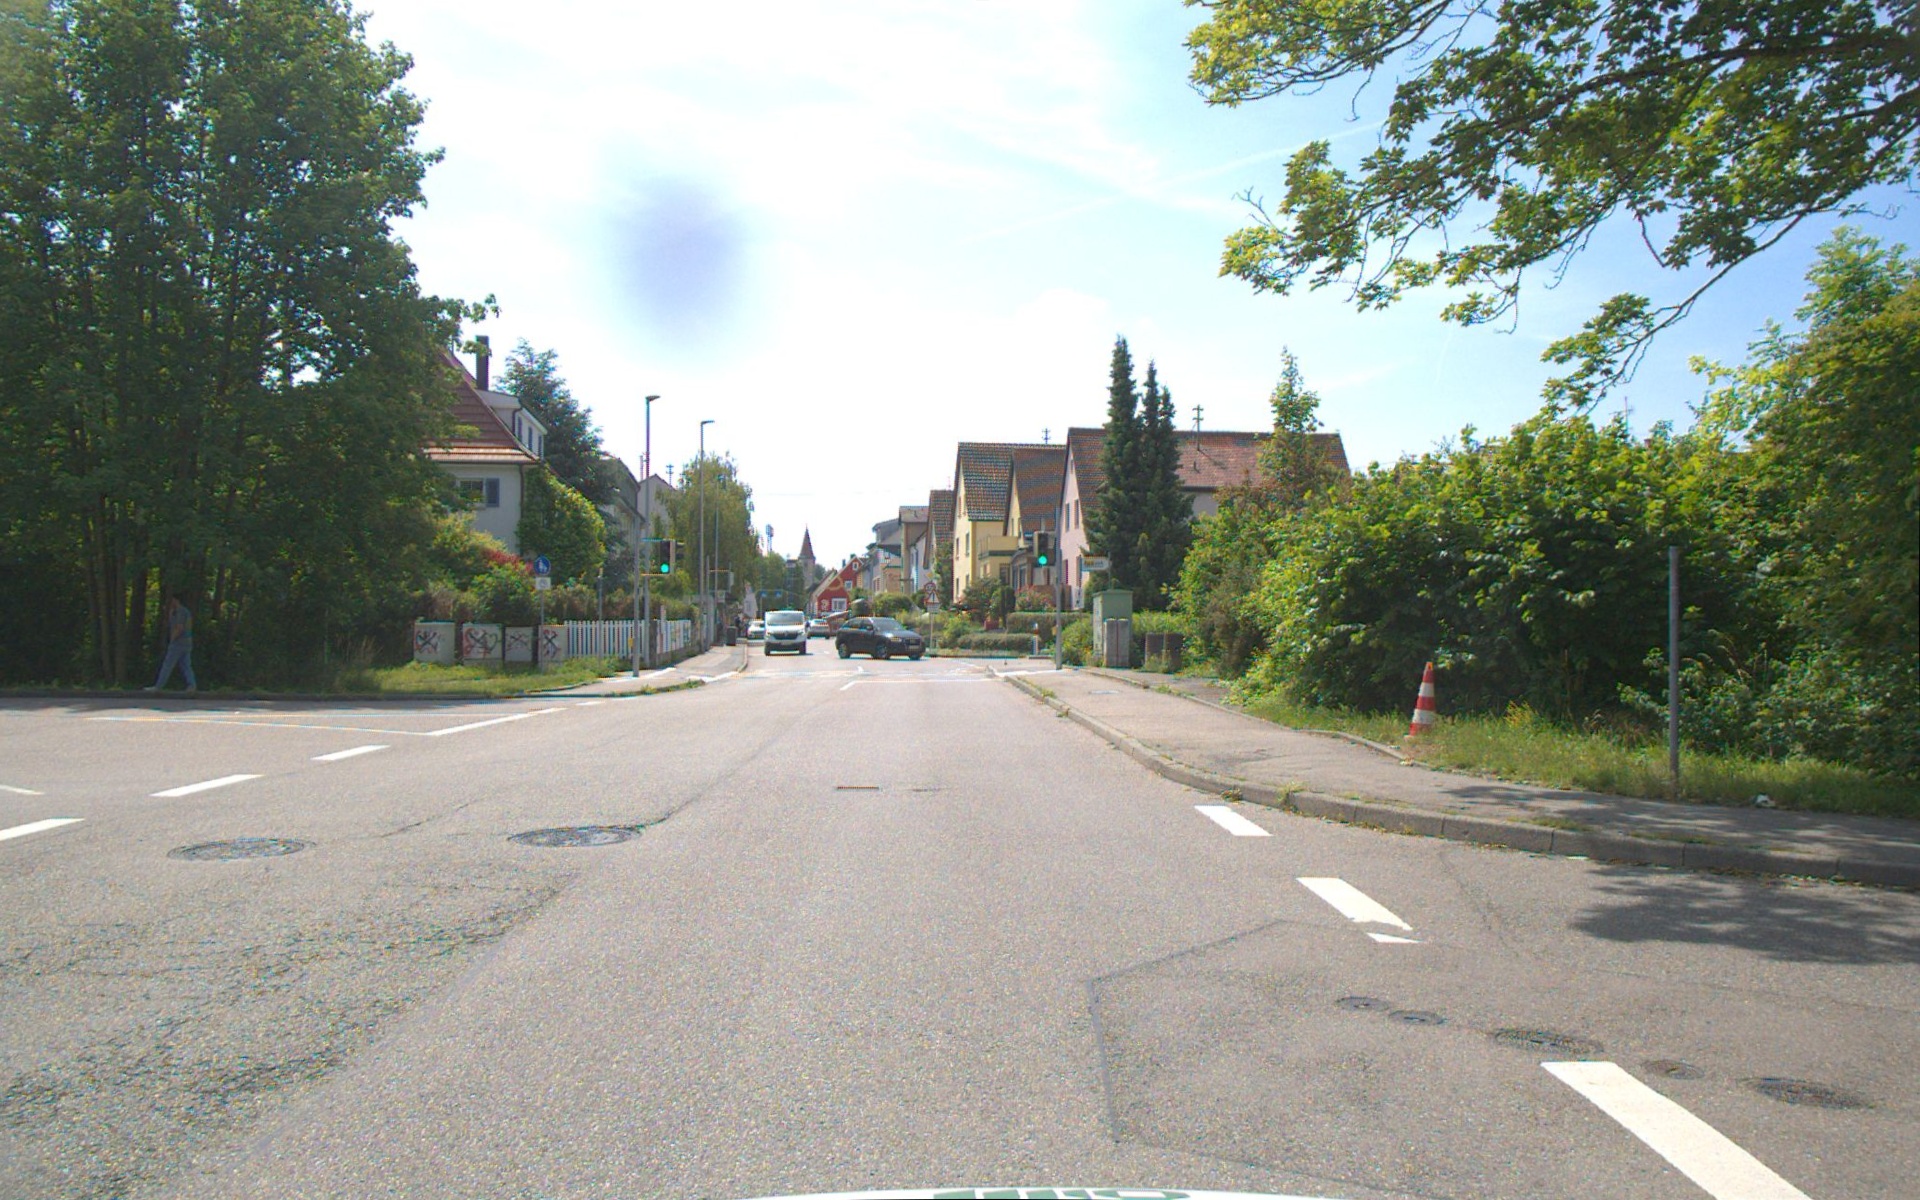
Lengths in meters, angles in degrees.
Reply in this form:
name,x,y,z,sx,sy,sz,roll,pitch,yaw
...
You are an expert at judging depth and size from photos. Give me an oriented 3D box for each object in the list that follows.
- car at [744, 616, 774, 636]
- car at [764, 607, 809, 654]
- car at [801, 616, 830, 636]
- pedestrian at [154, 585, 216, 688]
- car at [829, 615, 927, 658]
name,x,y,z,sx,sy,sz,roll,pitch,yaw
car,-16.501,2.092,135.931,2.068,1.588,4.311,0,-1,-3
car,-7.936,1.389,75.281,1.844,1.999,4.893,-2,-1,-8
car,-11.925,2.141,136.309,1.958,1.588,4.302,0,-1,-11
pedestrian,-13.934,0.663,29.746,0.720,1.808,0.690,-2,-2,17
car,-3.200,1.390,64.070,1.526,1.568,4.240,0,0,-41
